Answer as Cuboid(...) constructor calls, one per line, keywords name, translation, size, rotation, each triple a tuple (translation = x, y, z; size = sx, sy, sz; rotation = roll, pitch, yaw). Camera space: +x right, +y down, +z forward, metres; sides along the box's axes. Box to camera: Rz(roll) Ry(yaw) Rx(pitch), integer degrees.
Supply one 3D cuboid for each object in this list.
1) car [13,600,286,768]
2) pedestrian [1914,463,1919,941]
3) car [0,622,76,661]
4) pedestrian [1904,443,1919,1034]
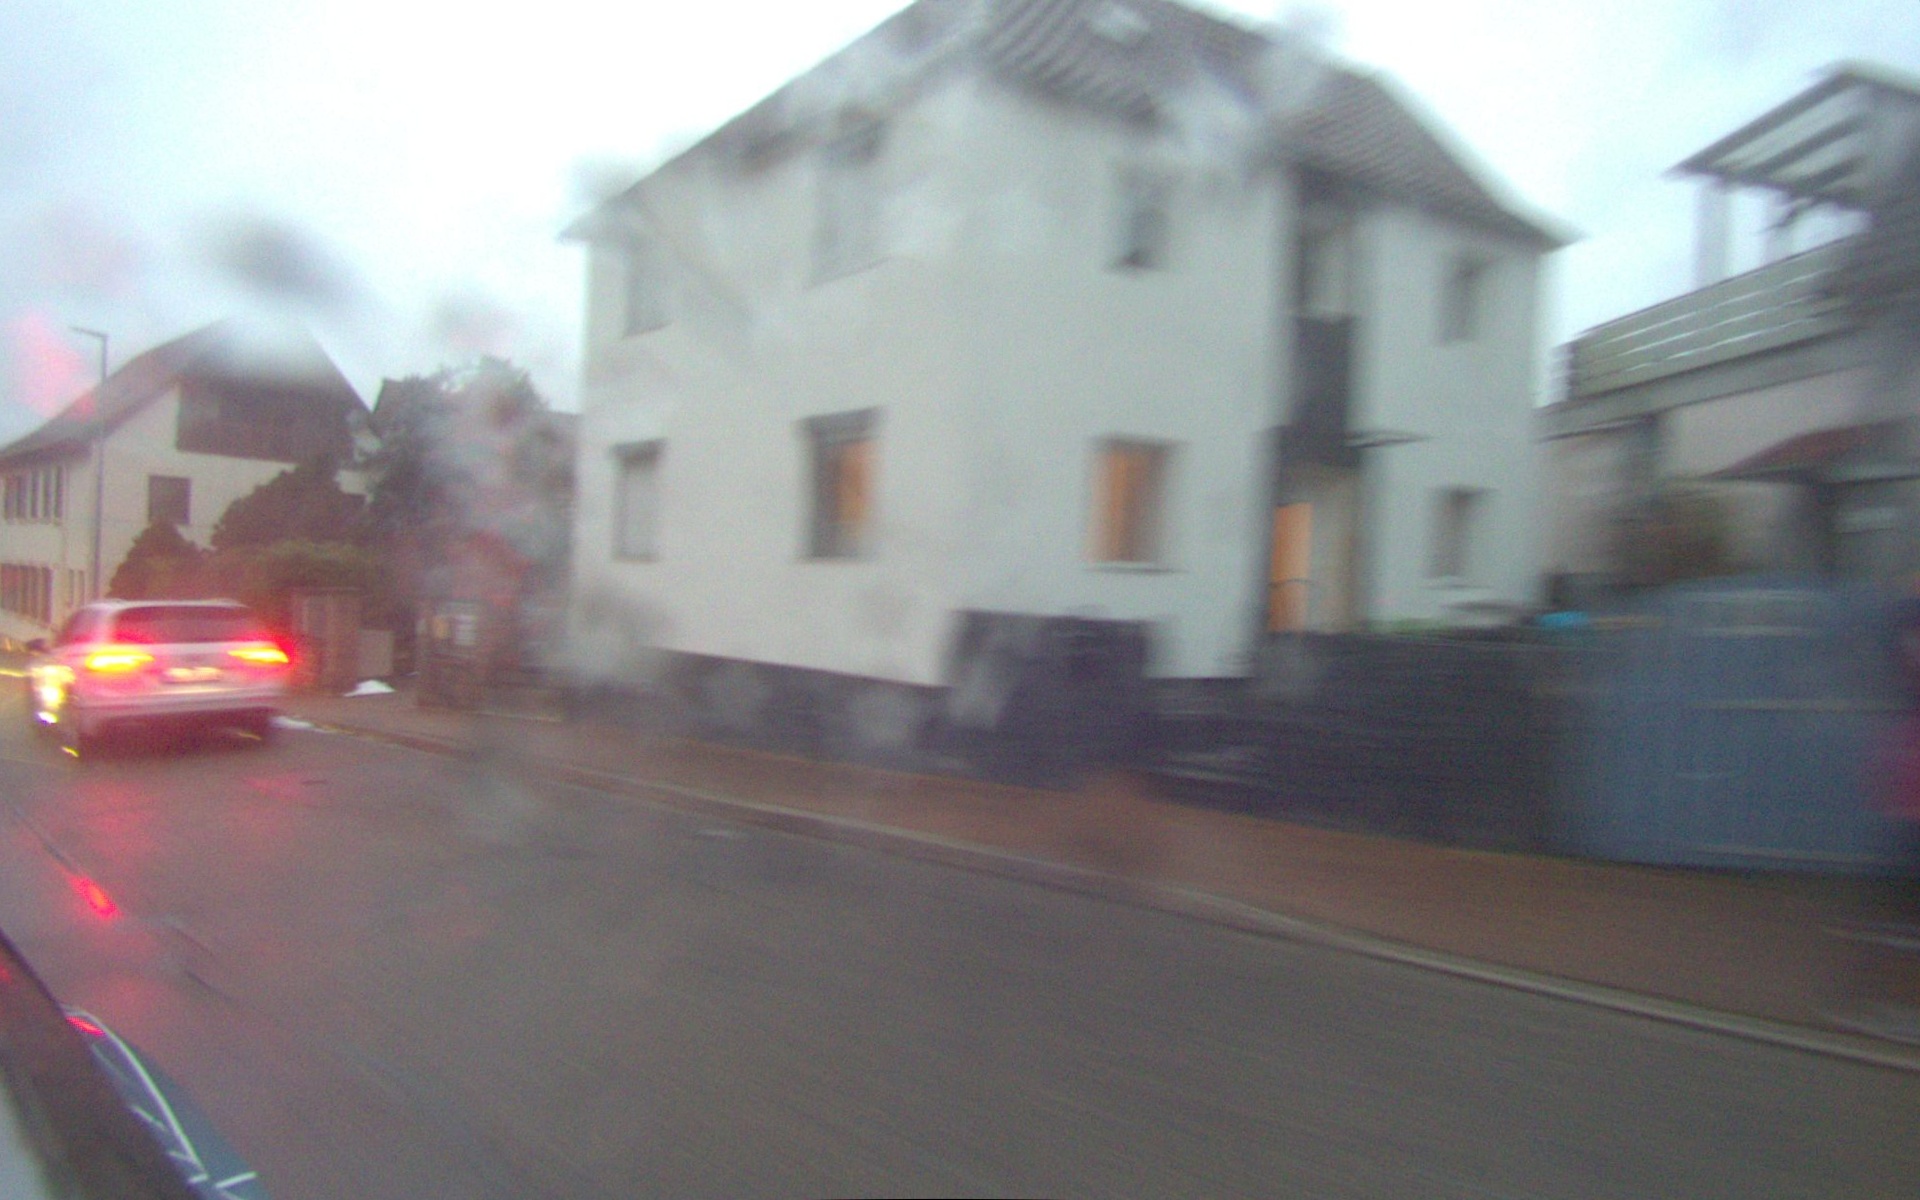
Cuboid(name="car", translation=(-9.363, 0.806, 11.582), size=(3.998, 1.592, 1.740), rotation=(0, -1, 41))
Cuboid(name="pedestrian", translation=(4.046, 0.406, 3.671), size=(0.811, 1.883, 0.592), rotation=(0, 2, 40))
Cuboid(name="car", translation=(-37.959, 1.616, 40.147), size=(4.182, 1.436, 1.998), rotation=(0, 0, 4))
Cuboid(name="pedestrian", translation=(3.431, 0.419, 3.056), size=(0.812, 1.792, 0.699), rotation=(0, 0, 41))
